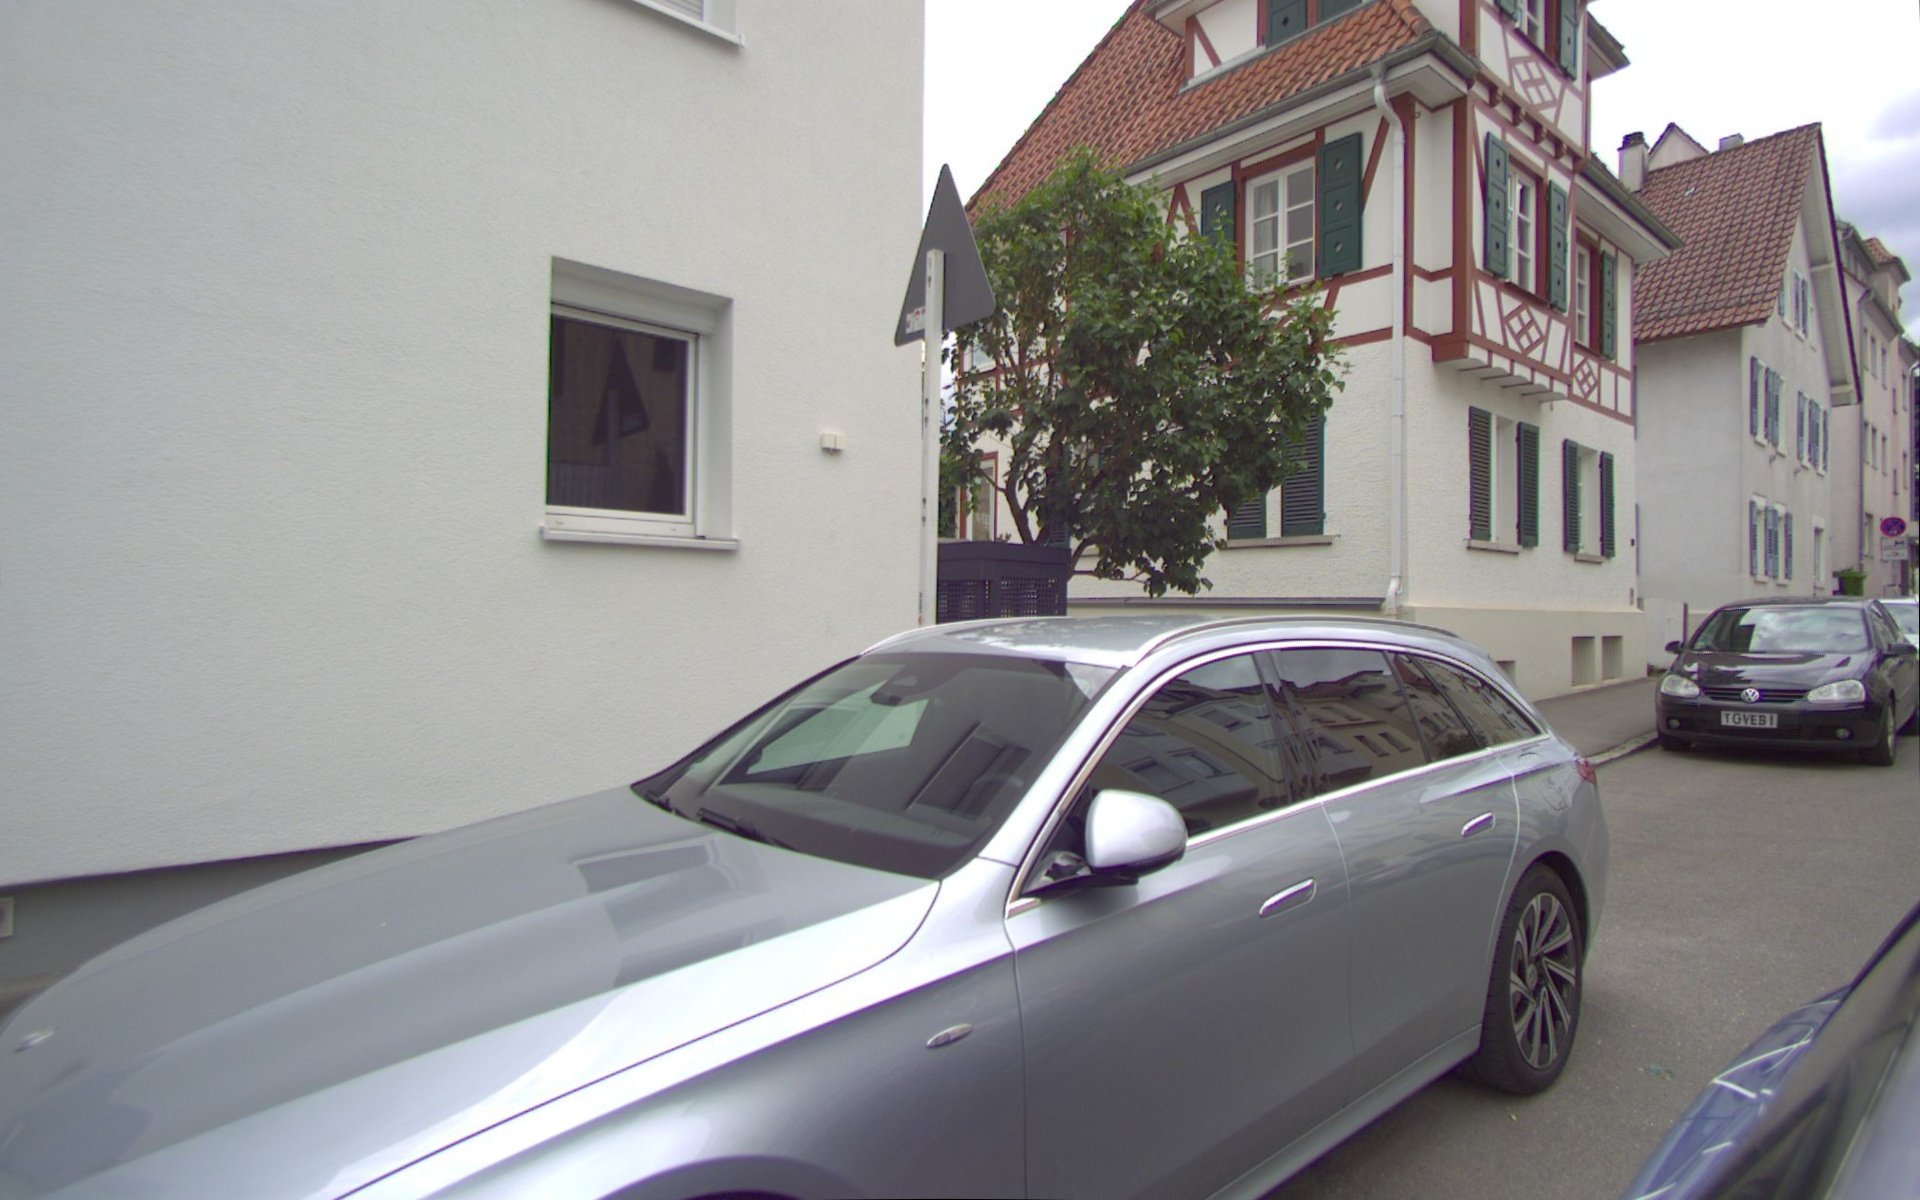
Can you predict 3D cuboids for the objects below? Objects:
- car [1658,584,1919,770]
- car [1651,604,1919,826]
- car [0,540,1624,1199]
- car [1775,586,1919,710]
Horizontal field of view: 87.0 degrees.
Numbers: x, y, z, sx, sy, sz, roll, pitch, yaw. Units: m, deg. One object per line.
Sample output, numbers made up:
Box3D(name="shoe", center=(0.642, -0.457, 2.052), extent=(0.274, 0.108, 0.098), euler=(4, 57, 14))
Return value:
Box3D(name="car", center=(8.628, 0.626, 10.245), extent=(3.953, 1.508, 1.607), euler=(-1, -1, -41))
Box3D(name="car", center=(8.395, 0.953, 9.962), extent=(3.931, 1.743, 1.778), euler=(2, -2, -42))
Box3D(name="car", center=(0.074, 0.672, 2.880), extent=(4.305, 1.463, 1.828), euler=(-1, -1, -40))
Box3D(name="car", center=(12.151, 0.533, 13.241), extent=(4.163, 1.411, 1.627), euler=(-1, -1, -42))
